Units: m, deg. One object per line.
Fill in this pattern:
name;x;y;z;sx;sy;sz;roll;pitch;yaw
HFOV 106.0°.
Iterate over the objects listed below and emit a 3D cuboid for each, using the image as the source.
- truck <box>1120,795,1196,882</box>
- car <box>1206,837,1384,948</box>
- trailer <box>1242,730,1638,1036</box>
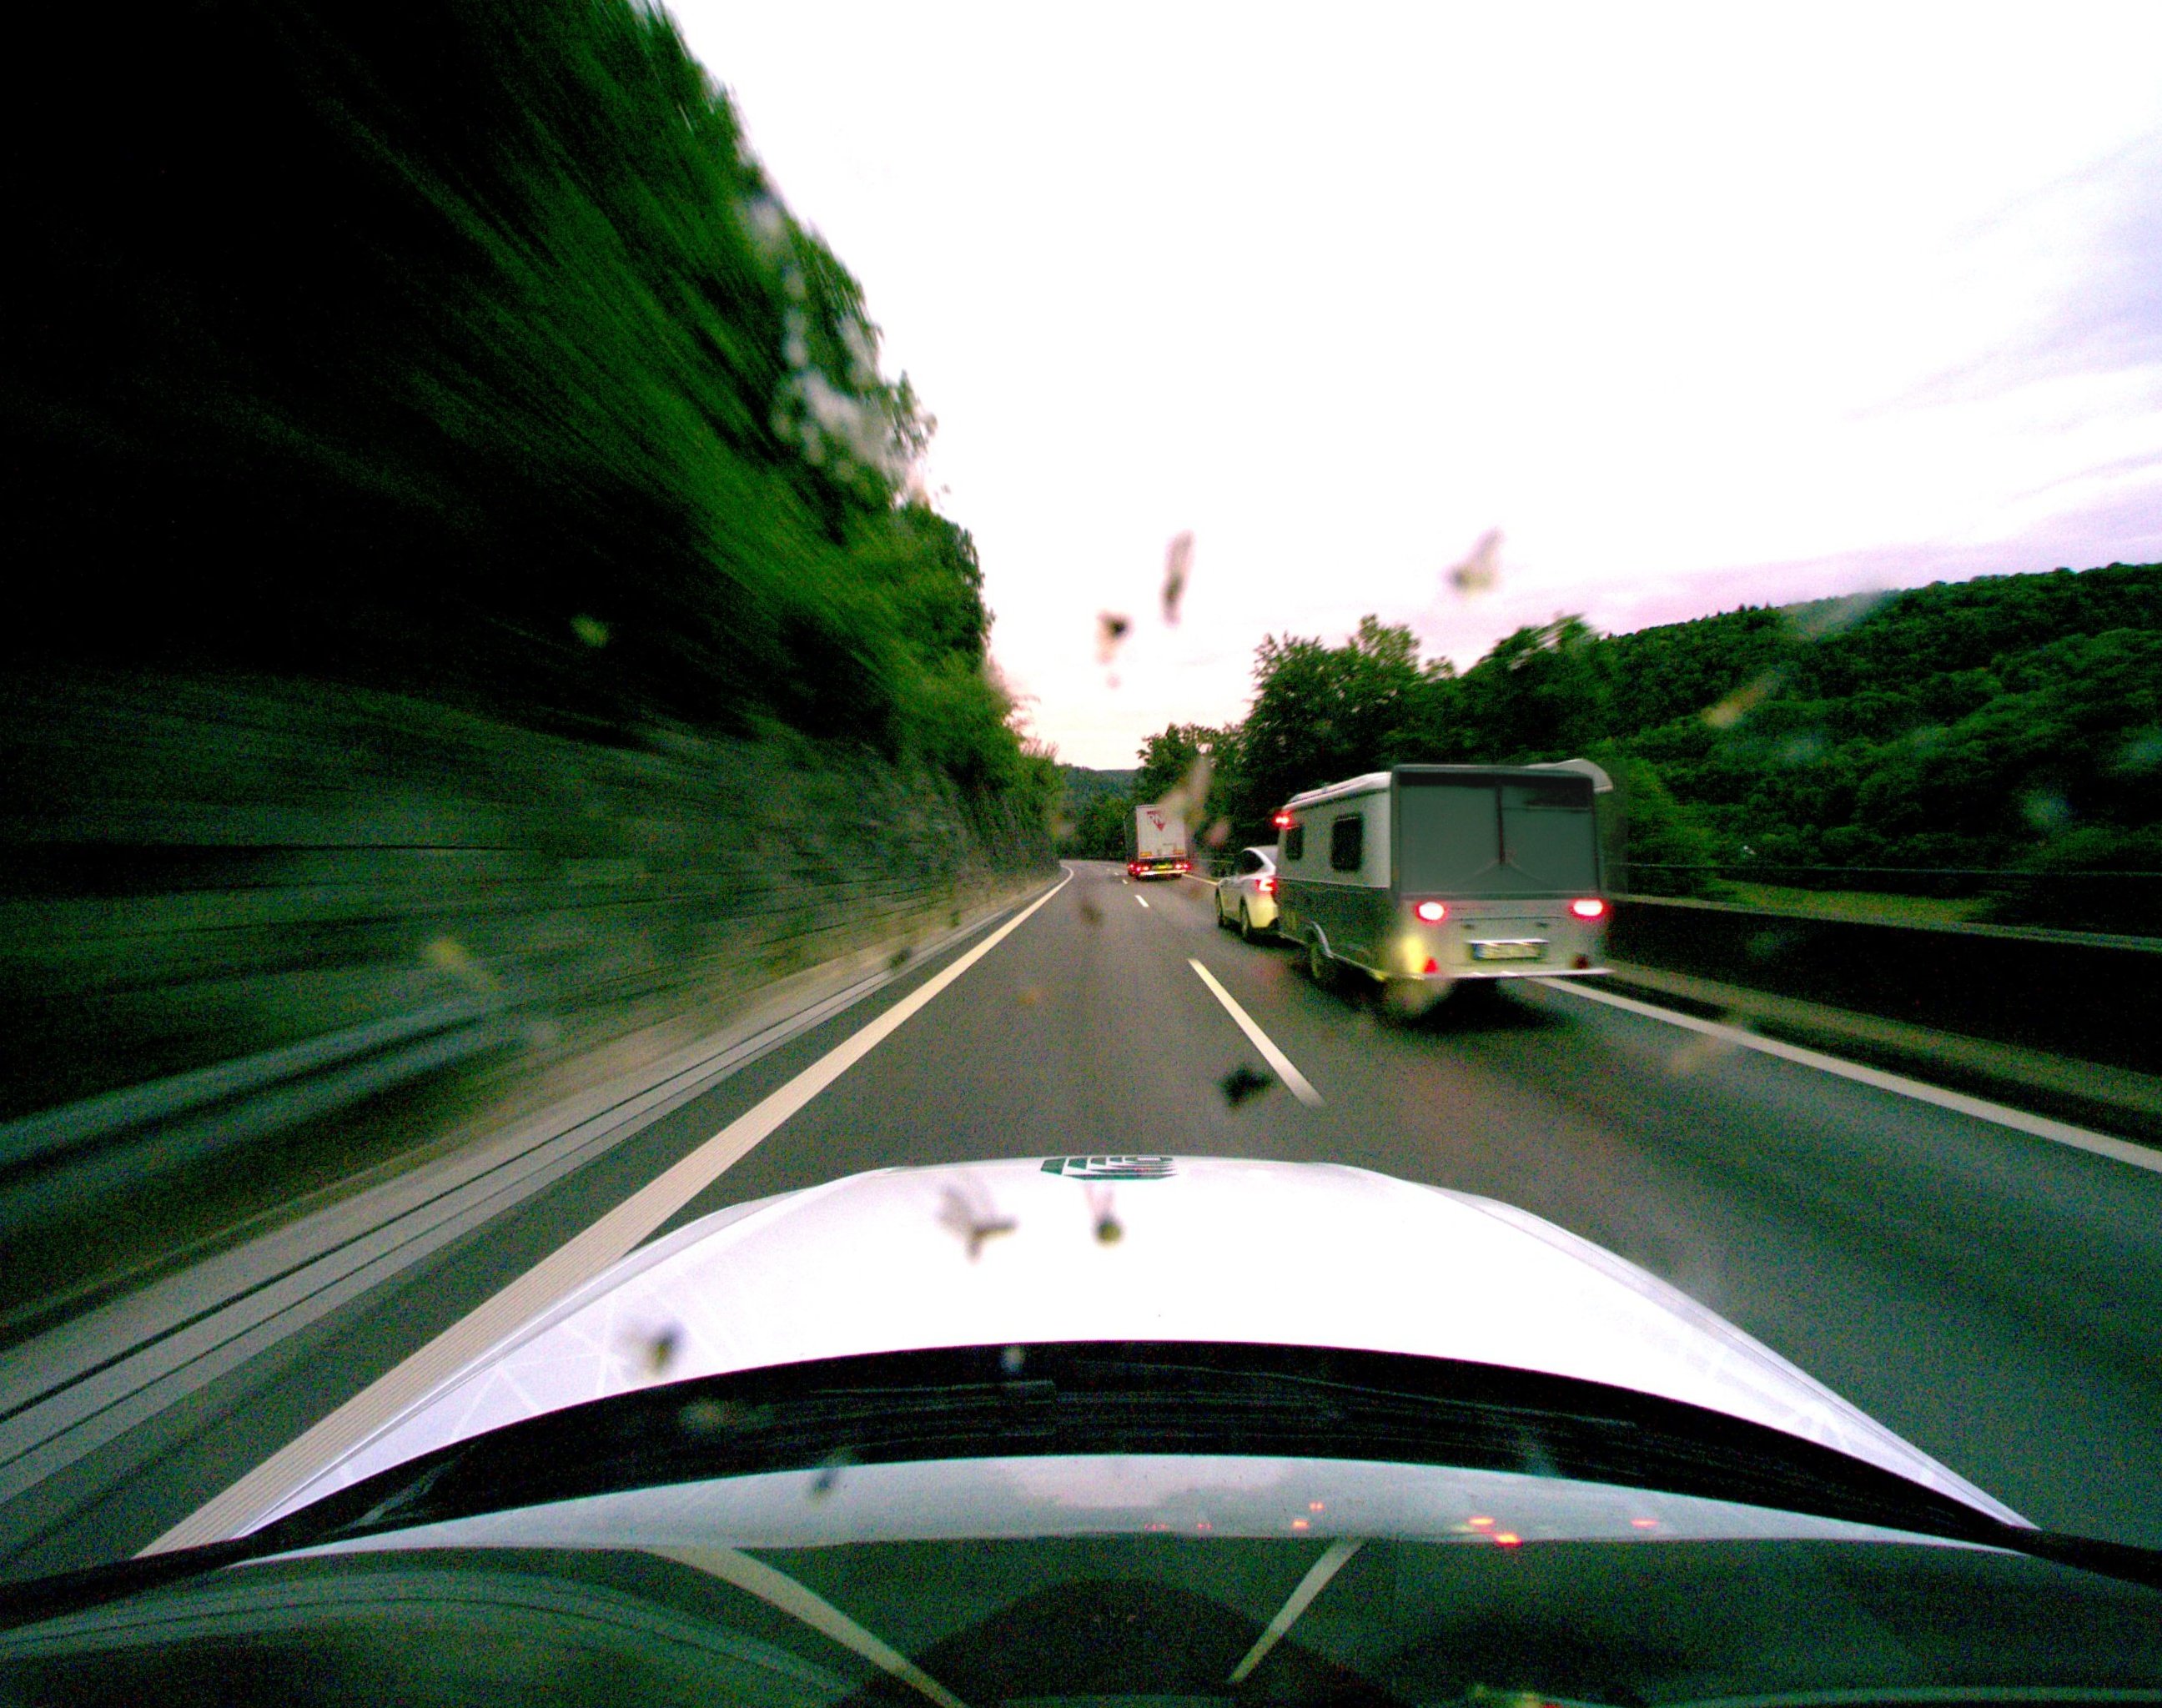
truck;4.271;-0.747;49.051;3.282;4.173;16.508;-3;0;2
car;3.639;0.598;14.855;1.987;1.614;4.865;-2;0;1
trailer;3.462;0.233;9.497;2.047;2.375;5.940;-2;0;1
